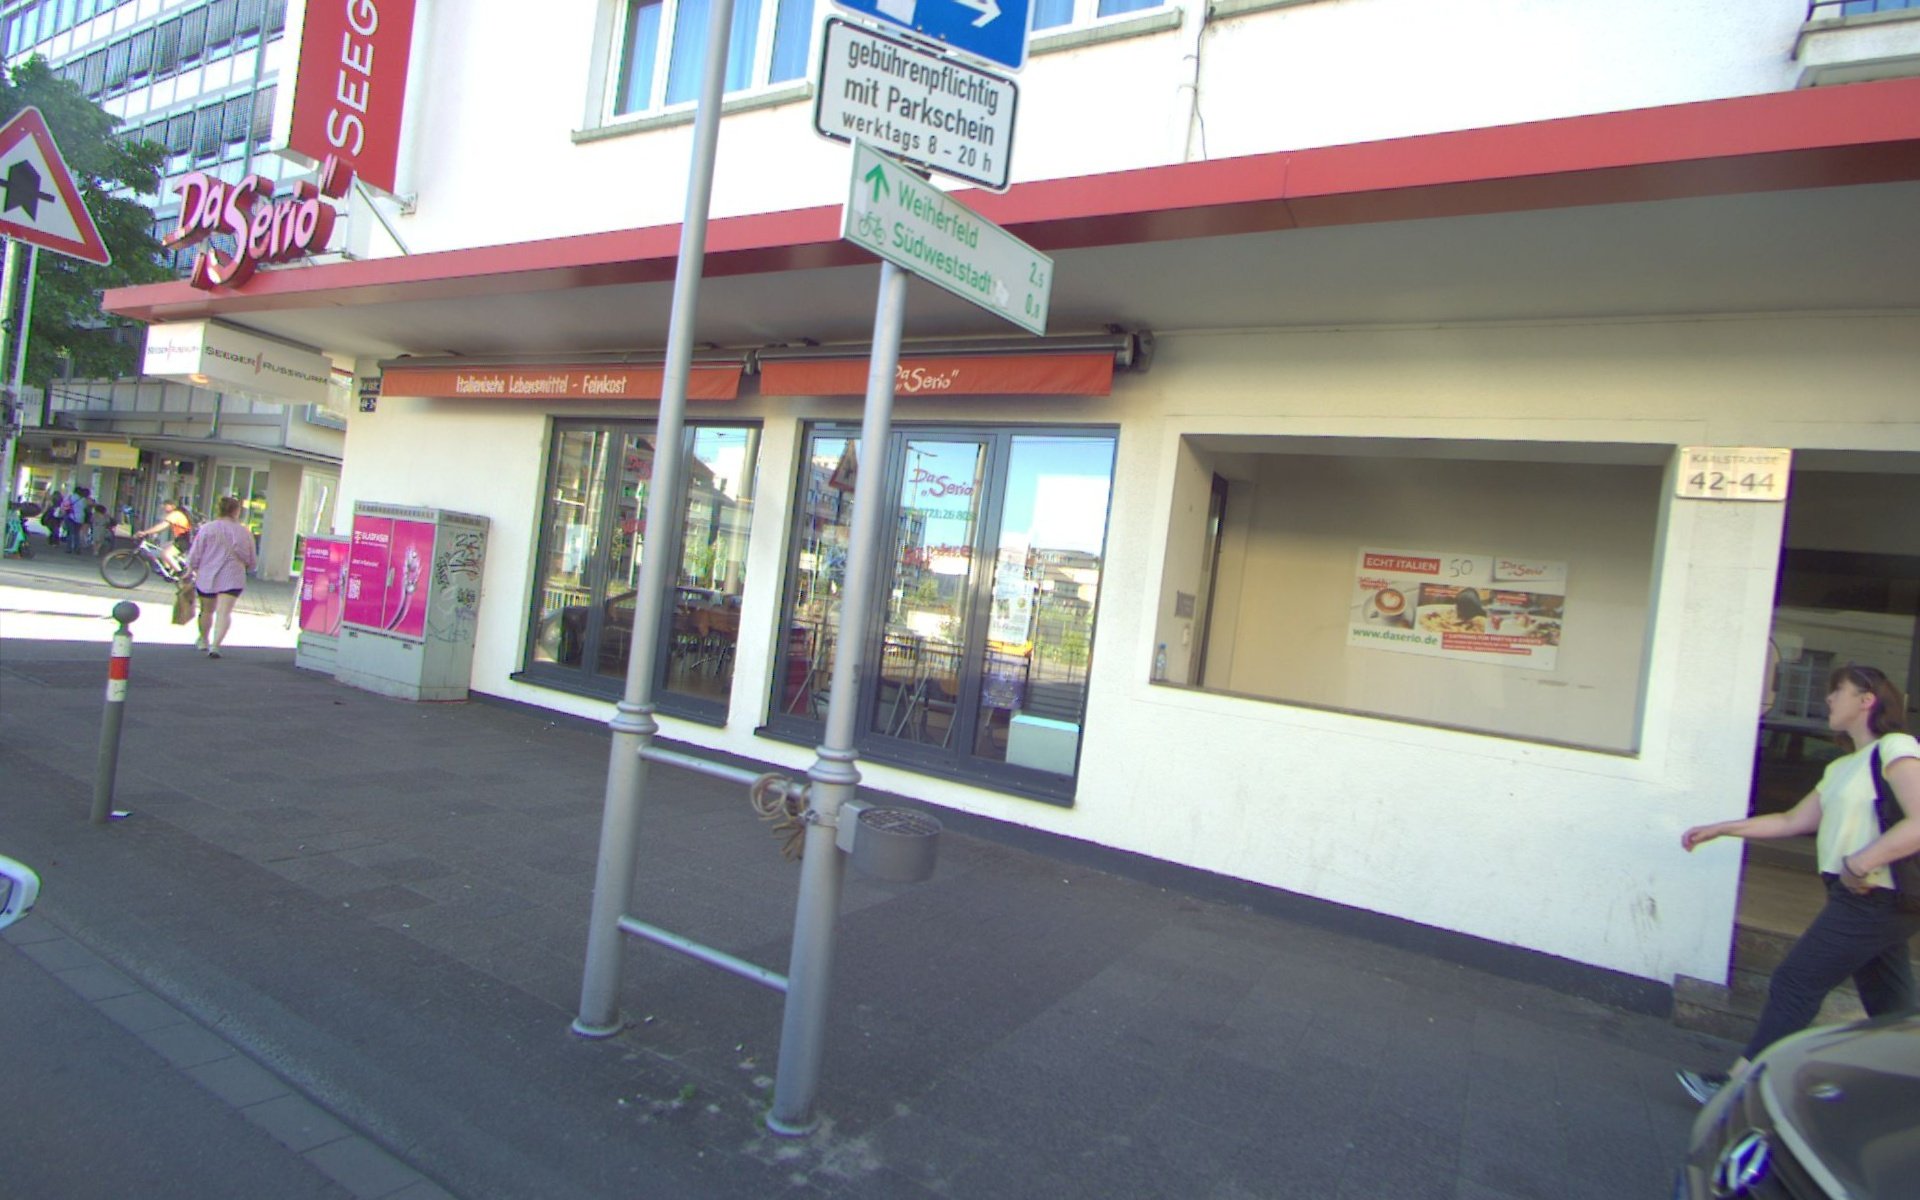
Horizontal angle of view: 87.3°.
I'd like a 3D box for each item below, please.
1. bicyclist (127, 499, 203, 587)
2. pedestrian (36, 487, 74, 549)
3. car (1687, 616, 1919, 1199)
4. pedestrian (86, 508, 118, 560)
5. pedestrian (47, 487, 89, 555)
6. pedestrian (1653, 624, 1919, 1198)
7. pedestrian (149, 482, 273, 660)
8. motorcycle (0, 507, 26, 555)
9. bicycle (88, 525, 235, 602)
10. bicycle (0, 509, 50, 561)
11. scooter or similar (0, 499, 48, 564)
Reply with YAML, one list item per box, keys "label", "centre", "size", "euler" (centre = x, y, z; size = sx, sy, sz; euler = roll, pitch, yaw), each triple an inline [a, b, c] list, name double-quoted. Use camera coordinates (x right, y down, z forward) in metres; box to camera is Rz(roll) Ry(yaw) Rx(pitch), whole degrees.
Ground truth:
- label: "bicyclist"
  centre: [-14.609, -1.035, 18.488]
  size: [0.905, 1.454, 0.621]
  euler: [10, -3, -42]
- label: "pedestrian"
  centre: [-25.540, -2.319, 28.382]
  size: [0.596, 1.662, 0.531]
  euler: [7, 1, 32]
- label: "car"
  centre: [3.189, 1.071, 1.089]
  size: [3.587, 1.652, 1.747]
  euler: [7, 1, 31]
- label: "pedestrian"
  centre: [-22.857, -1.749, 26.796]
  size: [0.522, 1.296, 0.420]
  euler: [7, 0, 32]
- label: "pedestrian"
  centre: [-23.243, -2.048, 26.204]
  size: [0.458, 1.662, 0.596]
  euler: [7, 1, 32]
- label: "pedestrian"
  centre: [3.235, 1.056, 3.731]
  size: [0.918, 1.796, 0.804]
  euler: [7, 0, 35]
- label: "pedestrian"
  centre: [-7.885, -0.292, 10.618]
  size: [0.813, 1.702, 0.707]
  euler: [9, -2, -37]
- label: "motorcycle"
  centre: [-24.777, -1.861, 25.070]
  size: [0.586, 1.140, 1.997]
  euler: [7, -3, 30]
- label: "bicycle"
  centre: [-14.672, -0.656, 18.523]
  size: [1.968, 1.084, 0.766]
  euler: [11, -4, -41]
- label: "bicycle"
  centre: [-23.145, -1.634, 23.959]
  size: [0.475, 1.134, 2.056]
  euler: [7, -2, 31]
- label: "scooter or similar"
  centre: [-21.337, -1.562, 22.336]
  size: [0.683, 1.332, 1.415]
  euler: [6, -1, 5]
